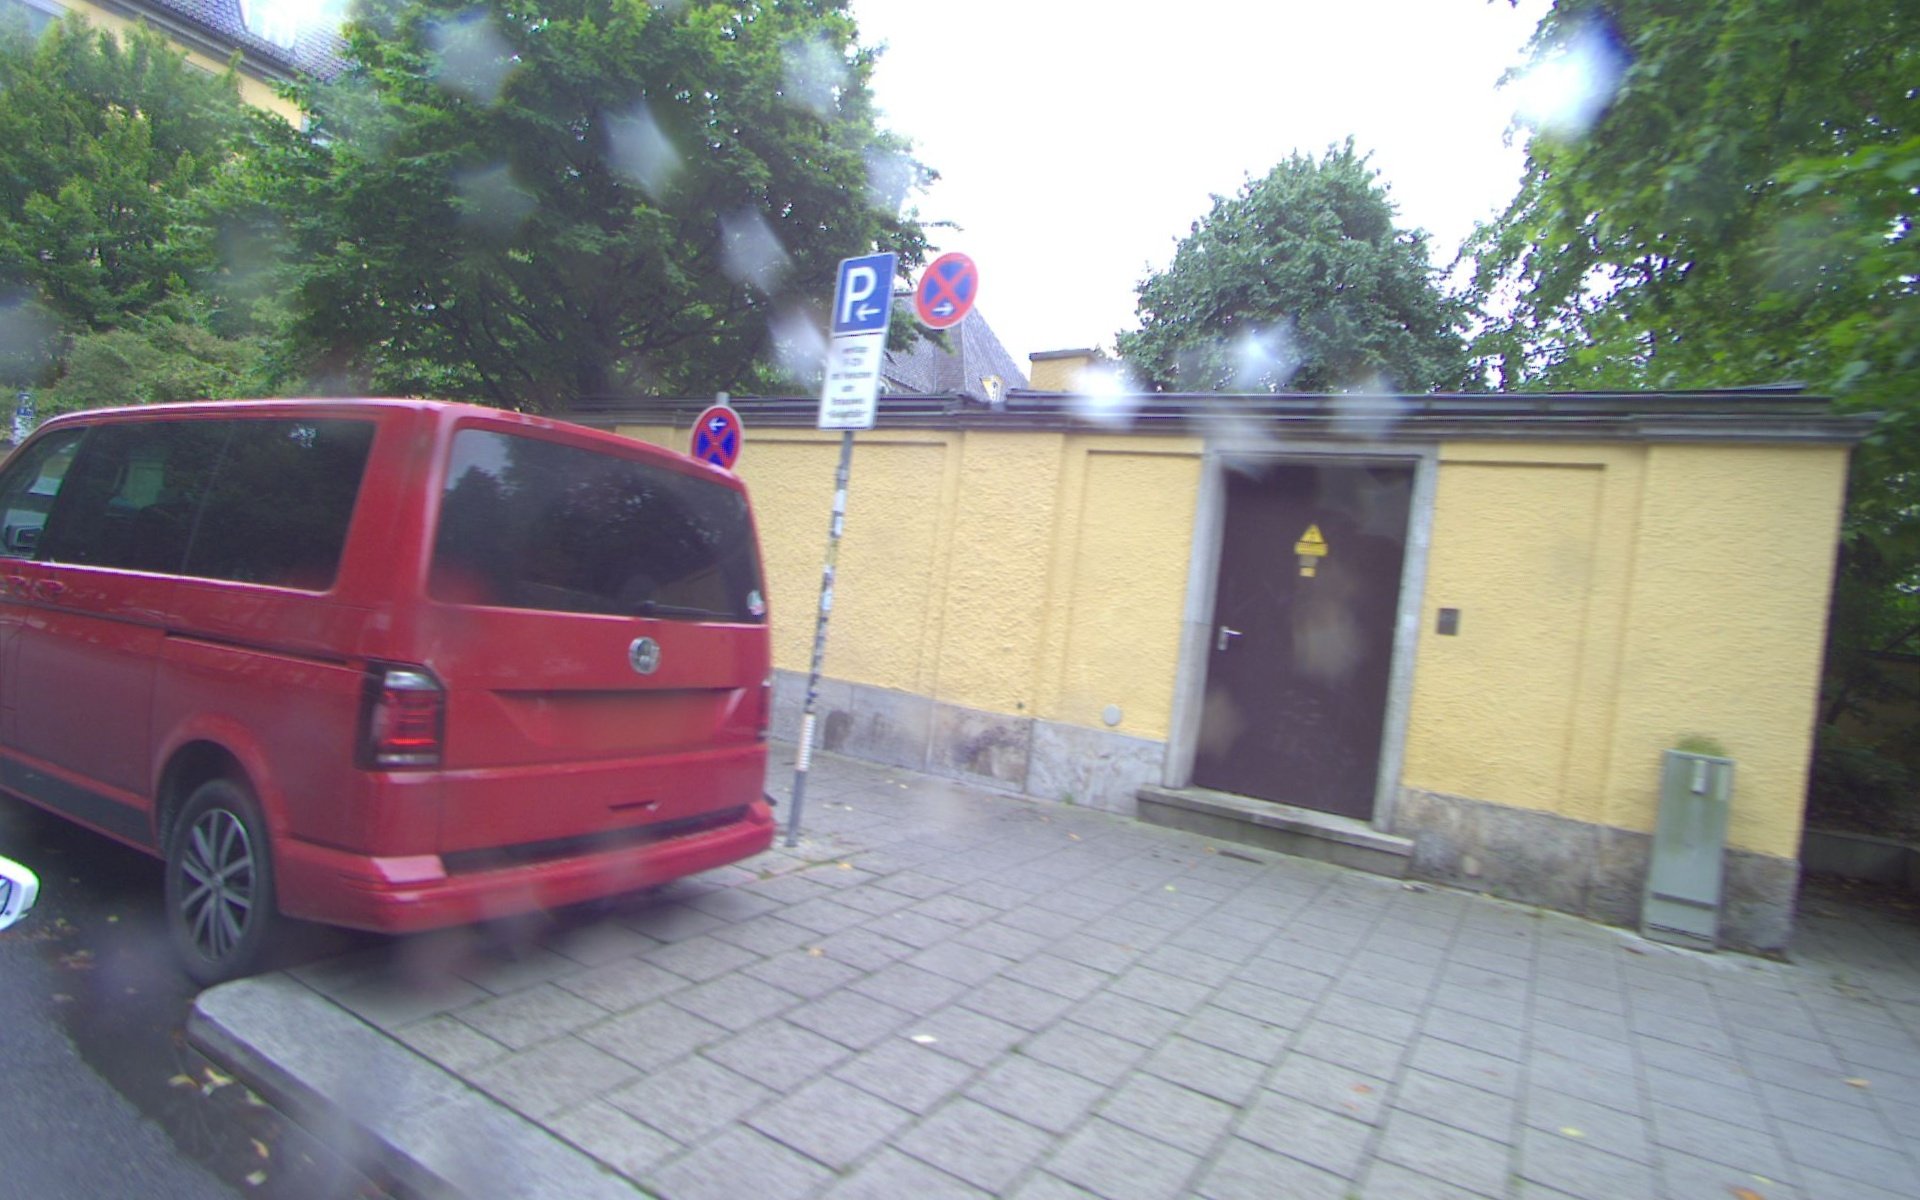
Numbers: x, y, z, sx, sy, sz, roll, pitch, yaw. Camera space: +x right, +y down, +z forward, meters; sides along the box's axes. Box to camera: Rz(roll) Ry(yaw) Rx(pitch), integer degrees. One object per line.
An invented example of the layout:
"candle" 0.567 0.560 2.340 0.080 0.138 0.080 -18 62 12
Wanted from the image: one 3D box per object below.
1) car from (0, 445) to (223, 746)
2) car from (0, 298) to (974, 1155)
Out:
"car" -7.483 -0.213 7.170 4.525 1.762 1.862 6 -1 31
"car" -2.796 0.146 4.491 5.353 1.992 1.861 5 0 30
